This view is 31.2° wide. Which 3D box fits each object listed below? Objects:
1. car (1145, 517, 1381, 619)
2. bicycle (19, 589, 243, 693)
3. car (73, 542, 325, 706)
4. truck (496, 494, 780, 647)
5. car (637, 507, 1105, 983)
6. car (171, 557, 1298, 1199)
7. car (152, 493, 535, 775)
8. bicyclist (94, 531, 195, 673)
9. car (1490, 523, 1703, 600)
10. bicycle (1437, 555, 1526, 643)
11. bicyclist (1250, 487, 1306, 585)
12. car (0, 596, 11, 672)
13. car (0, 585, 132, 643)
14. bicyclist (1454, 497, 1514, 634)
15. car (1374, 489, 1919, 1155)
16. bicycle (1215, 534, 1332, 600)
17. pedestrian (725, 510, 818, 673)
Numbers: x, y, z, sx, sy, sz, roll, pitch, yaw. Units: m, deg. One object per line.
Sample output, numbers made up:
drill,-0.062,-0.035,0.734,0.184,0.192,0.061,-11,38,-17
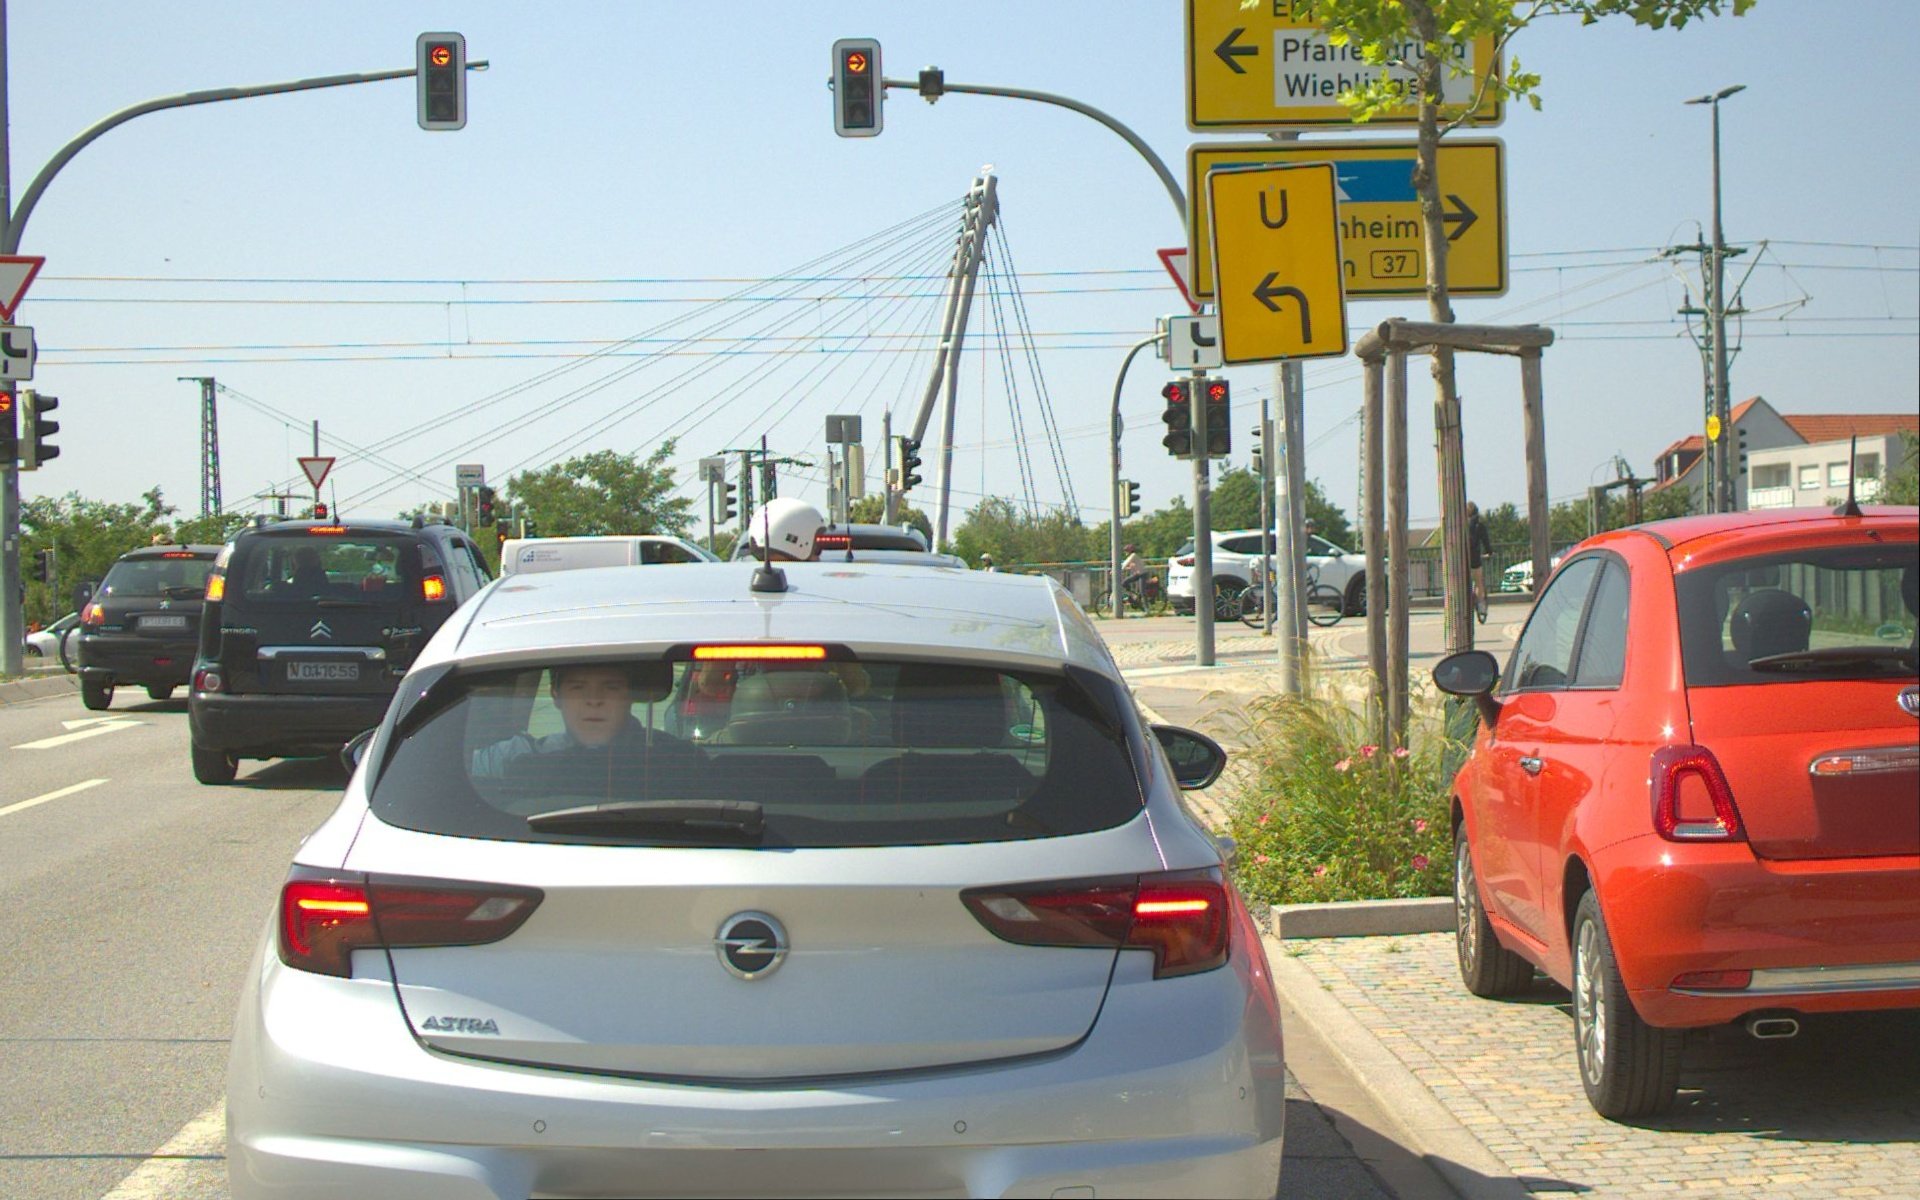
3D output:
car,5.537,-0.585,63.129,4.032,1.808,1.932,0,0,-5
bicycle,-9.314,0.456,38.685,2.357,1.123,0.677,1,0,-3
car,-6.779,0.201,30.903,1.587,1.390,3.340,0,0,-1
truck,-5.550,-0.507,59.677,4.693,2.532,2.000,1,0,1
car,-0.361,0.515,14.164,1.634,1.668,3.745,1,0,-1
car,-0.385,0.670,7.313,1.690,1.514,4.271,0,1,-1
car,-3.832,0.194,21.977,1.803,1.616,3.917,-1,0,-1
bicyclist,-9.172,0.019,38.694,0.945,1.563,0.823,1,0,-3
car,14.296,-0.857,77.233,4.244,1.668,2.001,0,0,-18
bicycle,7.232,-0.017,47.614,0.554,1.174,2.084,2,1,27
bicyclist,5.300,-1.059,57.294,0.771,1.604,0.949,1,0,-3
car,-19.270,0.580,62.291,3.779,1.385,1.664,1,0,23
car,-20.935,0.311,79.473,3.215,1.299,1.522,0,0,22
bicyclist,7.269,-0.476,47.652,0.635,1.881,0.595,1,0,27
car,2.346,0.468,10.022,1.669,1.534,3.917,-2,1,-1
bicycle,5.212,-0.543,57.224,1.866,1.064,0.578,1,0,-3
pedestrian,-2.174,-0.094,39.570,0.740,1.857,0.753,1,0,-38
